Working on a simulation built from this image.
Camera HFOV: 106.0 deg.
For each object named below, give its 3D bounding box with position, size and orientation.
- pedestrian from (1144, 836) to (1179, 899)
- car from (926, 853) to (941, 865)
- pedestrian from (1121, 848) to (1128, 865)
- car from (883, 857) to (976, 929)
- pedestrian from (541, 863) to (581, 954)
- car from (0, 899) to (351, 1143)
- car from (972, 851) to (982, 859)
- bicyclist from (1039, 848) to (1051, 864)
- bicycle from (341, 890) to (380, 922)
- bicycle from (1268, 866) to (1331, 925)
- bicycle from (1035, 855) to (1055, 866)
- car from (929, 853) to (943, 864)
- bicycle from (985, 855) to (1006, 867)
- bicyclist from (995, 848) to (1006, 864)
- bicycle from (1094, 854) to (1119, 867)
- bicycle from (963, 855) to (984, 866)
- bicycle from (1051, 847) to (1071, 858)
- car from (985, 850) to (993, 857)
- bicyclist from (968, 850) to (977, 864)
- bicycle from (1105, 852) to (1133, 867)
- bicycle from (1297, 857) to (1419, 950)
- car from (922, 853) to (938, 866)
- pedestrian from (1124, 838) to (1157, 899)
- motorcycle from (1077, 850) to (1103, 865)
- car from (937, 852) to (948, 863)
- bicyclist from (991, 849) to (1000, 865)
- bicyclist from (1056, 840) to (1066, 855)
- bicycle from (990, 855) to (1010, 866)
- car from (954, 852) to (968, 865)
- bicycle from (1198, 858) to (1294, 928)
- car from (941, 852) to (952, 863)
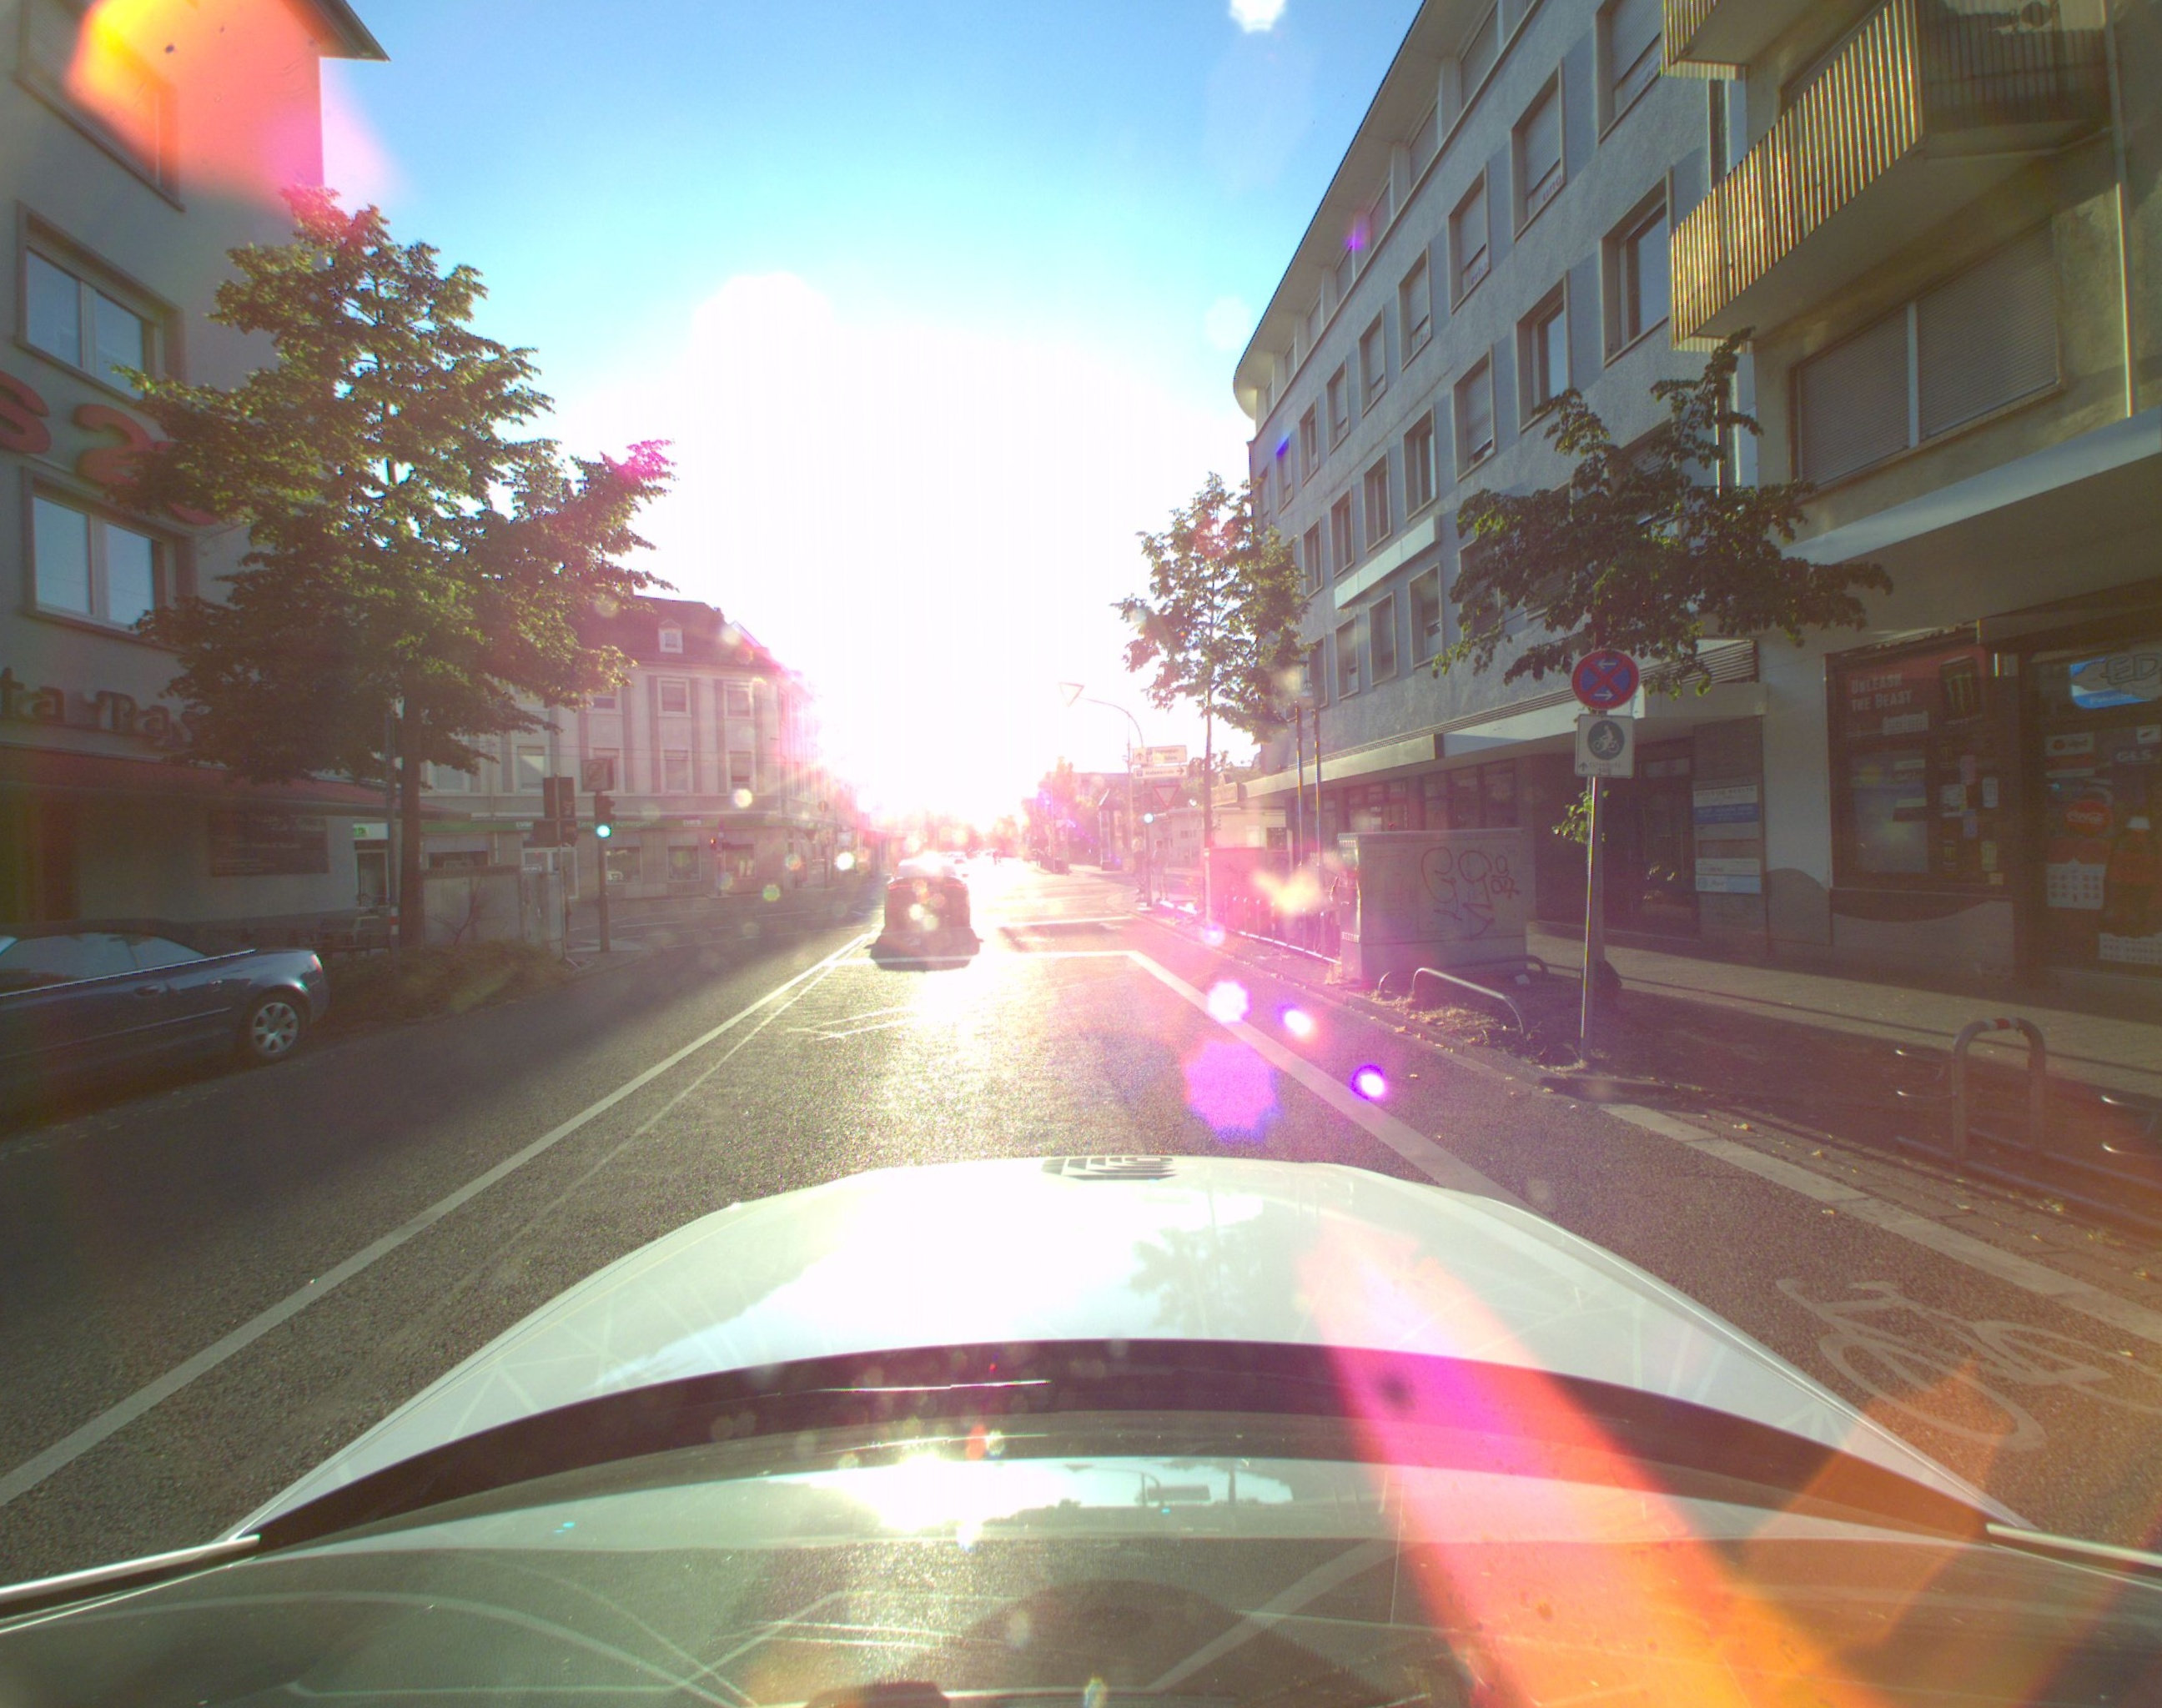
[{"bbox_3d":[2.317,0.385,23.473,0.641,1.773,0.743,-2,0,-27],"label":"pedestrian"},{"bbox_3d":[-18.231,0.586,100.879,1.543,1.469,3.343,-1,0,-7],"label":"car"},{"bbox_3d":[4.382,0.218,81.223,0.678,1.657,0.696,0,-1,1],"label":"pedestrian"},{"bbox_3d":[-3.547,0.820,19.133,1.891,1.480,4.526,0,-1,-11],"label":"car"},{"bbox_3d":[-9.923,1.010,15.540,0.589,1.656,0.791,-2,0,-34],"label":"pedestrian"},{"bbox_3d":[-7.597,1.148,5.547,1.647,1.353,4.302,-3,0,-6],"label":"car"},{"bbox_3d":[-24.925,0.246,194.842,1.990,1.684,3.994,-2,0,-5],"label":"car"},{"bbox_3d":[-3.762,0.225,84.772,1.124,1.601,0.702,0,-1,4],"label":"bicyclist"},{"bbox_3d":[-26.669,1.924,30.184,0.499,1.059,1.730,-2,0,-21],"label":"bicycle"},{"bbox_3d":[4.141,0.757,15.544,0.403,1.010,1.663,-4,1,-12],"label":"bicycle"},{"bbox_3d":[-3.739,0.664,84.762,2.107,1.204,0.501,0,-1,5],"label":"bicycle"},{"bbox_3d":[-18.847,0.586,105.809,1.543,1.469,3.343,-1,0,-7],"label":"car"},{"bbox_3d":[-8.882,0.688,84.363,2.109,1.204,0.500,0,-1,2],"label":"bicycle"},{"bbox_3d":[-8.820,0.238,89.416,1.125,1.791,0.765,0,-1,2],"label":"bicyclist"},{"bbox_3d":[2.134,0.525,67.582,2.070,0.982,0.560,-2,-1,1],"label":"bicycle"},{"bbox_3d":[-11.534,0.717,87.255,2.109,1.204,0.500,0,-1,2],"label":"bicycle"},{"bbox_3d":[-2.124,-0.170,86.261,2.105,1.204,0.501,-1,-1,8],"label":"bicycle"},{"bbox_3d":[-25.187,-0.029,222.803,1.990,1.816,3.993,0,-1,-5],"label":"car"},{"bbox_3d":[-11.627,0.358,87.266,0.895,1.481,0.735,0,-1,2],"label":"bicyclist"},{"bbox_3d":[2.884,0.424,61.872,2.013,1.044,0.560,-2,-1,1],"label":"bicycle"},{"bbox_3d":[3.877,0.666,11.387,1.662,1.194,0.491,-2,0,-20],"label":"bicycle"},{"bbox_3d":[-18.017,0.605,97.243,1.544,1.483,3.344,-2,0,-7],"label":"car"},{"bbox_3d":[1.781,0.432,24.359,0.589,1.773,0.741,-2,0,-37],"label":"pedestrian"},{"bbox_3d":[0.746,0.285,70.642,2.228,1.201,0.720,-2,0,-2],"label":"motorcycle"},{"bbox_3d":[-19.178,0.487,112.510,1.306,1.582,2.881,-1,0,-7],"label":"car"},{"bbox_3d":[-8.884,0.315,84.373,0.847,1.658,0.677,0,-1,2],"label":"bicyclist"},{"bbox_3d":[-2.089,-0.650,86.267,0.954,1.601,0.648,-1,-1,9],"label":"bicyclist"},{"bbox_3d":[-8.888,0.689,89.432,2.109,1.204,0.500,0,-1,1],"label":"bicycle"},{"bbox_3d":[-14.277,0.521,97.290,1.543,1.468,3.343,-1,0,-7],"label":"car"},{"bbox_3d":[3.010,0.698,14.885,1.658,1.194,0.475,-2,1,-12],"label":"bicycle"},{"bbox_3d":[-19.514,0.466,118.288,1.481,1.559,3.250,-1,0,-7],"label":"car"}]
